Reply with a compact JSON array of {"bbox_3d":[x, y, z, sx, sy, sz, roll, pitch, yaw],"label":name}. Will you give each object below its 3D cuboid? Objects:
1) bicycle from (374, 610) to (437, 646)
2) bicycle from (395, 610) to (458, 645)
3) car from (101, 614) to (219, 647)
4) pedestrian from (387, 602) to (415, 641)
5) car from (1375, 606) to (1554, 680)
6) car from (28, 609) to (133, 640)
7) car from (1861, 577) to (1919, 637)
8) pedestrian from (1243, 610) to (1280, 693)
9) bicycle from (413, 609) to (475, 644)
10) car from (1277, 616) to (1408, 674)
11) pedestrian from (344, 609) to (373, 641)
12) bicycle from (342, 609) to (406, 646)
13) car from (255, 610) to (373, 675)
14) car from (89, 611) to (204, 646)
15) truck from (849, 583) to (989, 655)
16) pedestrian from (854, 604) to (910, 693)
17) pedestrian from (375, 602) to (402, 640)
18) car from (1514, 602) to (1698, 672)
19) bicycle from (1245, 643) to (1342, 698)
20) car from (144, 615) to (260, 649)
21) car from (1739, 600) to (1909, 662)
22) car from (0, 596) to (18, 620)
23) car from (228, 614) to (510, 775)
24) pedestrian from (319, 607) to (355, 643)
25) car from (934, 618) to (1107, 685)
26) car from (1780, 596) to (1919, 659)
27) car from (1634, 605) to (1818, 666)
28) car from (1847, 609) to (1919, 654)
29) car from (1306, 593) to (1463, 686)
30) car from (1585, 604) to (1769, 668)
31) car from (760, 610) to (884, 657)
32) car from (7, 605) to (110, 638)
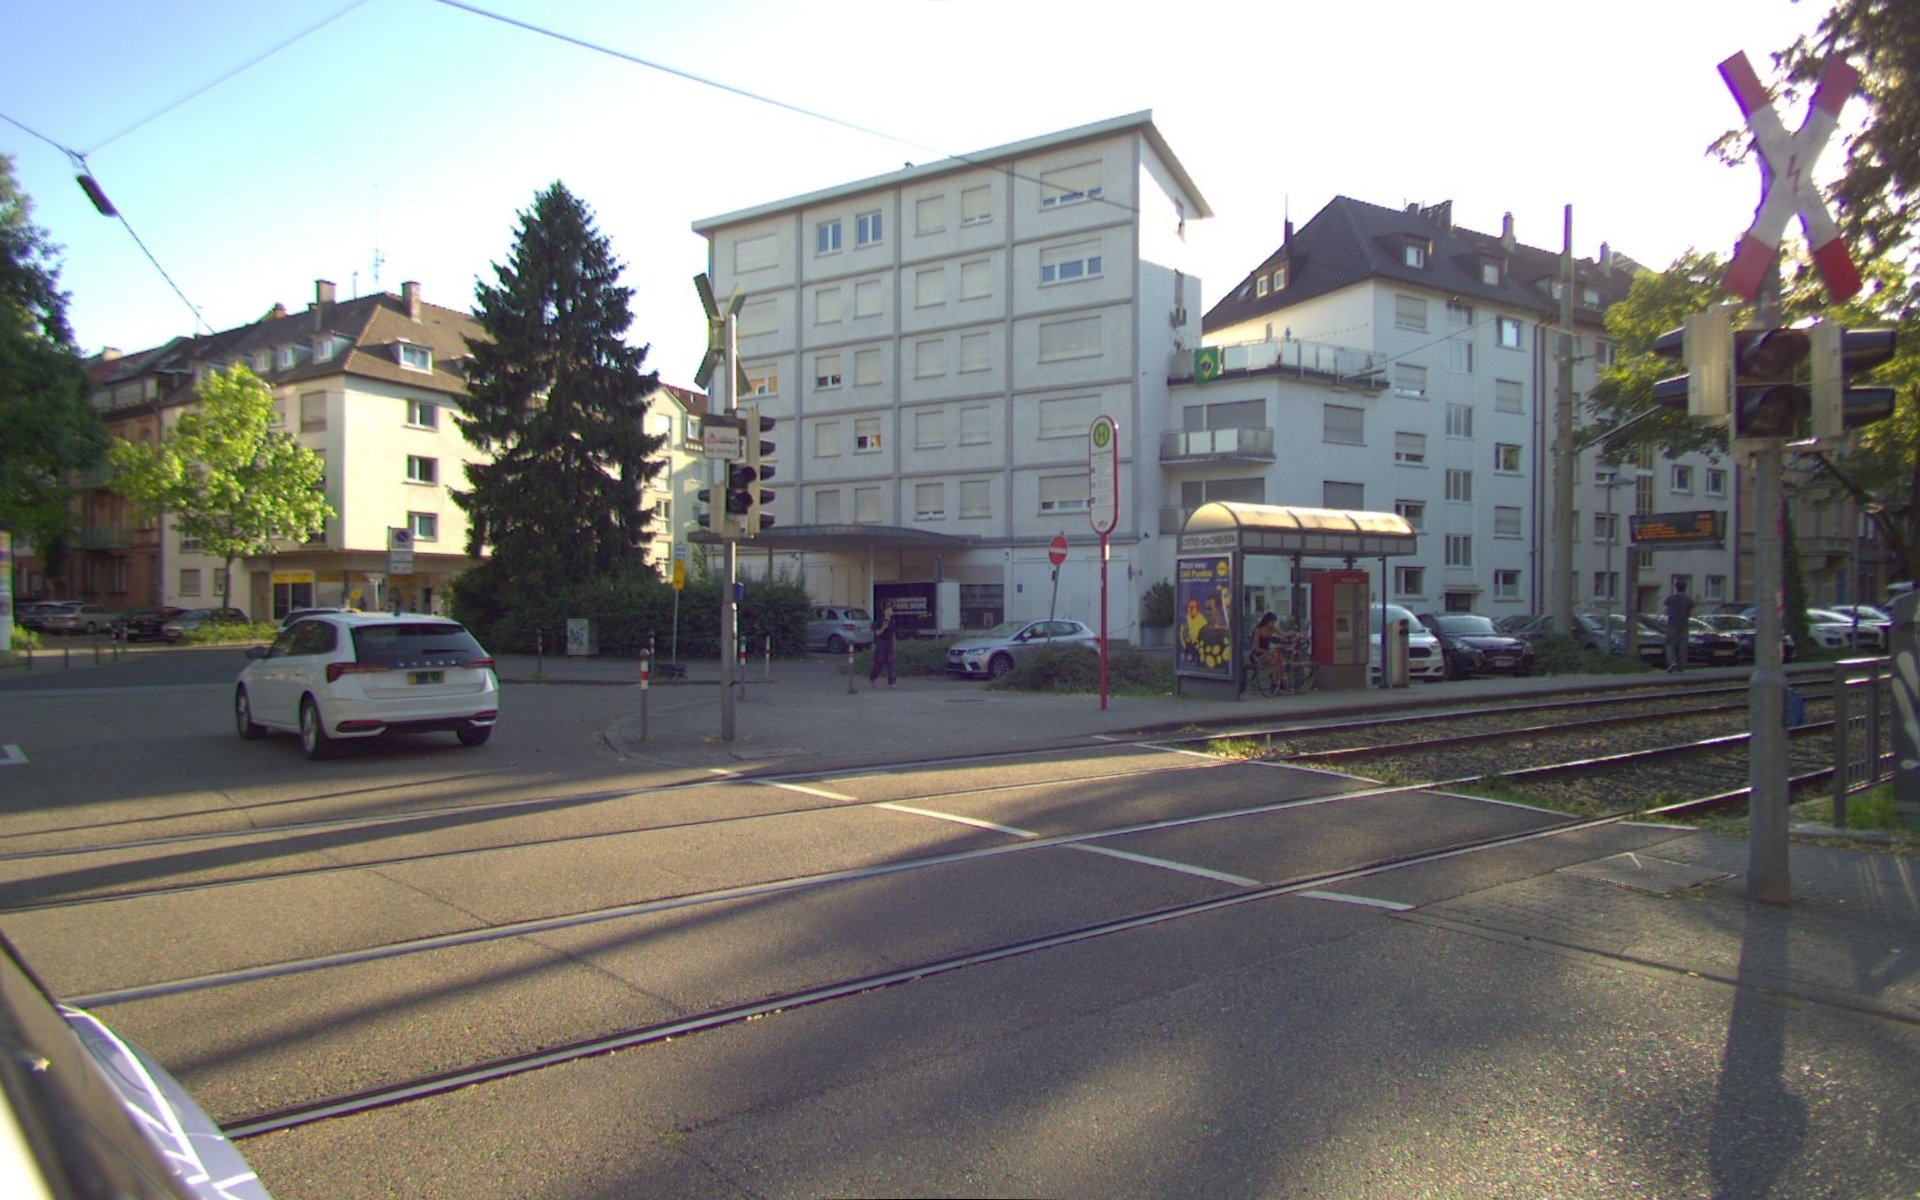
[{"bbox_3d":[-23.955,1.176,43.710,3.369,1.456,0.871,0,0,32],"label":"bicycle"},{"bbox_3d":[-23.606,1.185,44.758,3.369,1.456,0.871,0,0,32],"label":"bicycle"},{"bbox_3d":[-36.386,1.369,46.138,1.854,1.410,3.985,0,-1,12],"label":"car"},{"bbox_3d":[-27.902,1.064,50.514,0.848,1.889,0.882,-1,-1,29],"label":"pedestrian"},{"bbox_3d":[11.069,1.027,22.571,1.676,1.448,4.207,-2,-4,-2],"label":"car"},{"bbox_3d":[-44.221,1.209,51.028,1.847,1.516,4.000,0,-1,0],"label":"car"},{"bbox_3d":[48.073,0.346,50.522,5.386,2.909,2.569,0,-2,-24],"label":"car"},{"bbox_3d":[4.819,0.816,16.187,0.444,1.311,0.339,0,-1,-29],"label":"pedestrian"},{"bbox_3d":[-23.413,1.184,45.865,3.369,1.456,0.871,2,0,32],"label":"bicycle"},{"bbox_3d":[12.177,1.394,32.171,3.931,1.686,1.721,0,-2,-29],"label":"car"},{"bbox_3d":[-29.760,1.220,50.070,0.887,1.581,0.954,-1,-1,30],"label":"pedestrian"},{"bbox_3d":[-24.682,1.140,42.598,3.369,1.456,0.871,0,0,32],"label":"bicycle"},{"bbox_3d":[-16.216,1.003,25.611,1.890,1.461,4.310,-1,0,-24],"label":"car"},{"bbox_3d":[-38.821,1.346,48.397,1.856,1.580,3.982,0,-1,14],"label":"car"},{"bbox_3d":[-1.549,0.702,37.780,4.951,2.554,1.980,-1,-1,29],"label":"truck"},{"bbox_3d":[-1.578,0.954,20.428,0.856,1.749,0.833,0,0,-28],"label":"pedestrian"},{"bbox_3d":[-28.717,1.042,50.846,0.848,1.889,0.882,-1,-1,29],"label":"pedestrian"},{"bbox_3d":[15.764,0.987,24.999,1.584,1.519,4.243,-2,-4,-3],"label":"car"},{"bbox_3d":[5.260,1.098,15.931,1.614,0.789,0.452,0,-1,-29],"label":"bicycle"},{"bbox_3d":[-34.008,1.417,45.527,1.854,1.410,3.985,0,-1,12],"label":"car"},{"bbox_3d":[25.958,1.013,30.628,1.837,1.664,4.228,-2,-4,9],"label":"car"},{"bbox_3d":[-56.775,0.468,58.019,1.847,1.410,4.000,0,-1,0],"label":"car"},{"bbox_3d":[-6.726,0.911,11.329,4.063,1.468,1.683,-1,-1,44],"label":"car"},{"bbox_3d":[-30.002,1.197,48.749,0.960,1.679,1.203,-1,-1,30],"label":"pedestrian"},{"bbox_3d":[1.496,1.209,24.686,3.932,1.457,1.721,0,-2,-31],"label":"car"},{"bbox_3d":[28.179,0.918,31.722,1.837,1.762,4.228,-2,-4,9],"label":"car"},{"bbox_3d":[20.807,1.045,27.753,1.584,1.470,4.243,-2,-4,-3],"label":"car"},{"bbox_3d":[33.804,1.074,35.367,1.832,1.484,4.238,-2,-4,1],"label":"car"},{"bbox_3d":[8.546,0.881,20.793,1.587,1.665,4.235,-2,-4,4],"label":"car"},{"bbox_3d":[18.651,1.007,26.601,1.584,1.470,4.243,-2,-4,-3],"label":"car"},{"bbox_3d":[-4.831,1.144,35.288,3.988,1.544,1.978,-1,-1,33],"label":"car"},{"bbox_3d":[-46.903,1.109,52.761,1.847,1.648,4.000,0,-1,0],"label":"car"}]
